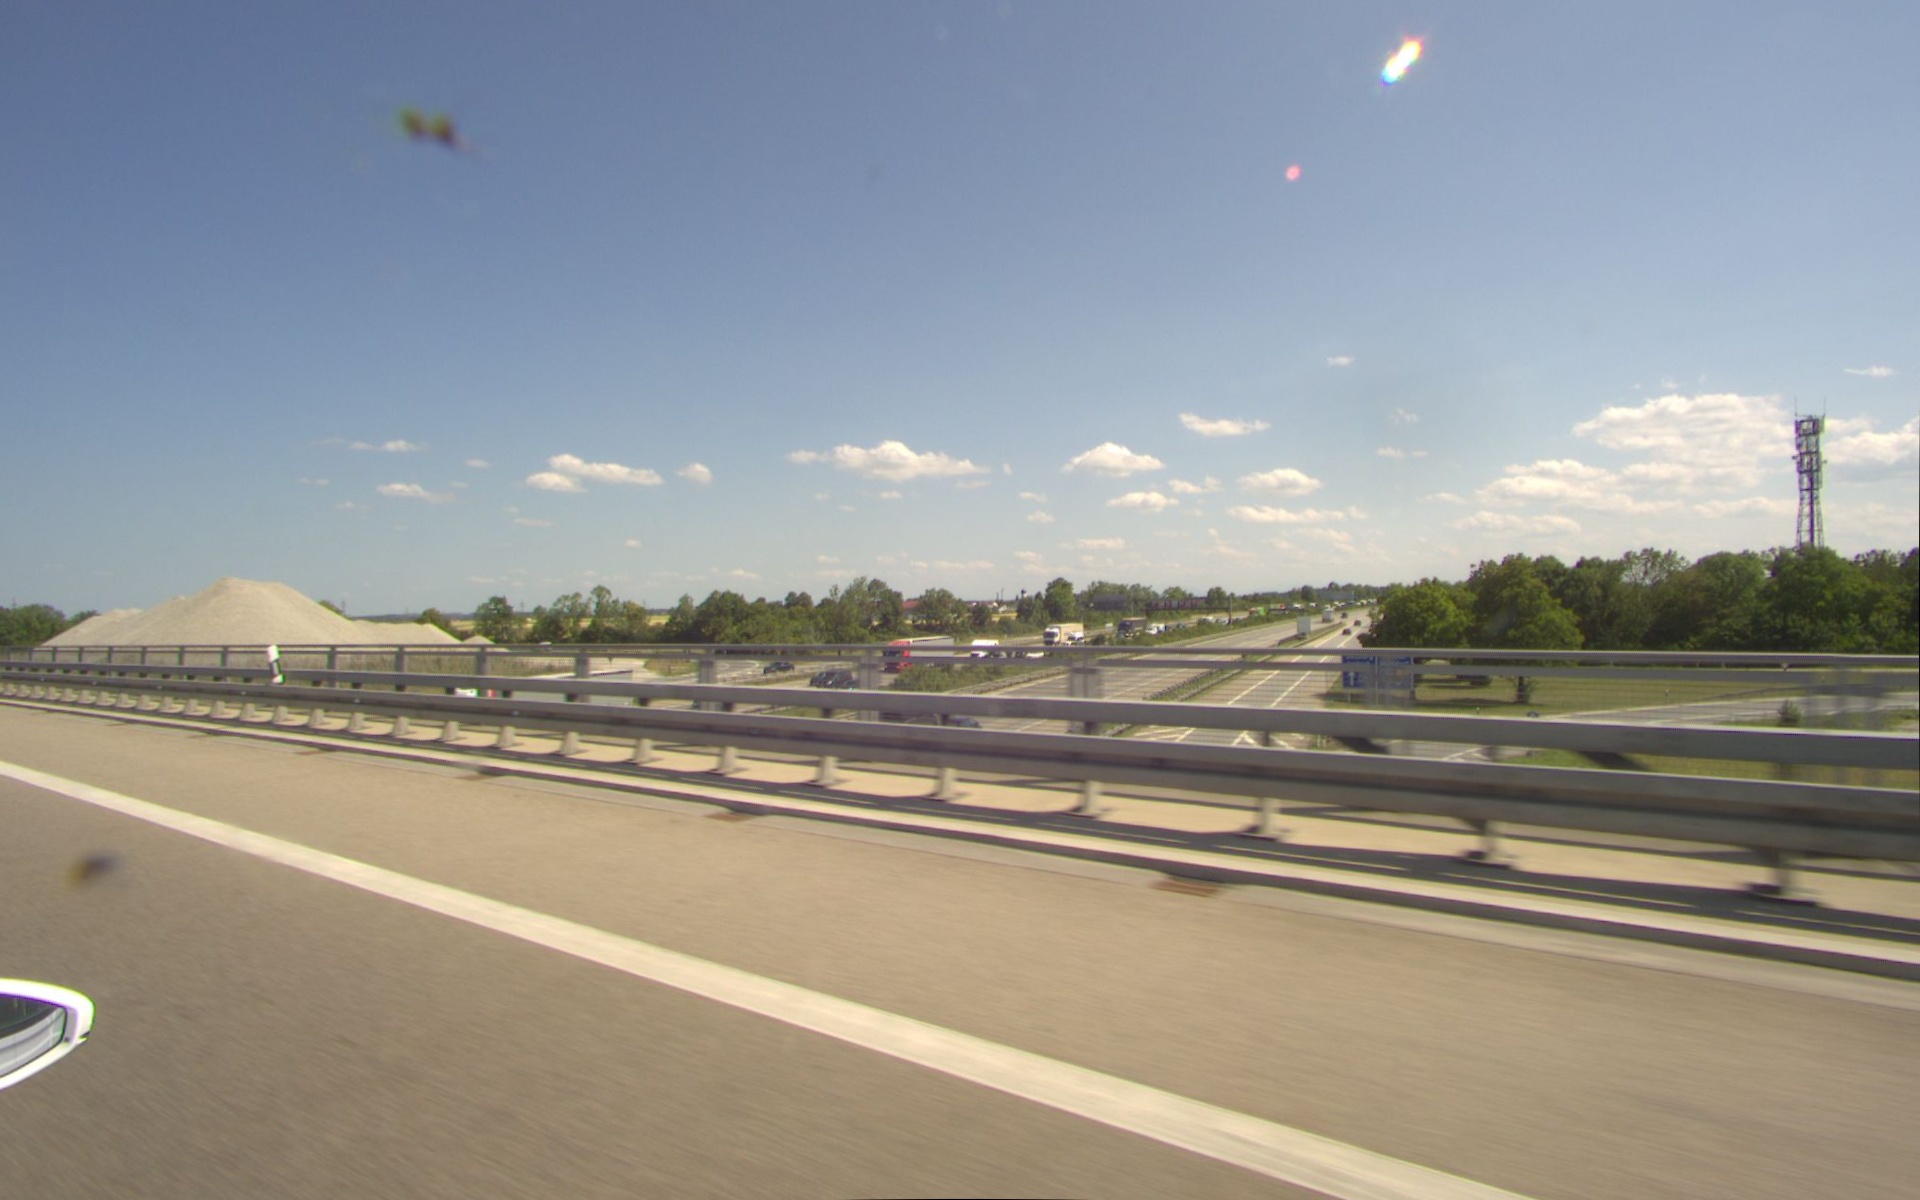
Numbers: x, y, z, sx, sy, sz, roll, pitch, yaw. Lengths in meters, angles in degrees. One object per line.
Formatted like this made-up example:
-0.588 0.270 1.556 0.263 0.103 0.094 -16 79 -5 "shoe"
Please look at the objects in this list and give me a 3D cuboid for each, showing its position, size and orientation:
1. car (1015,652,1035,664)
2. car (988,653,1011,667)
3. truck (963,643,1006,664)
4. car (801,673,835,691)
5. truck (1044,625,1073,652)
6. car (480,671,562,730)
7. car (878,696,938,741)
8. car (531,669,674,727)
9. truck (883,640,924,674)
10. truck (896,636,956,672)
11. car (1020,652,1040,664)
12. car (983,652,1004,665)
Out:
10.471 9.275 161.397 1.830 1.757 4.335 -1 -1 23 "car"
5.560 8.392 140.926 1.830 1.757 4.335 -1 -1 23 "car"
3.899 8.362 157.573 3.100 3.099 10.018 -1 -1 25 "truck"
-16.099 9.276 113.411 1.830 1.757 4.335 -1 -1 23 "car"
18.520 7.171 187.799 3.099 4.836 8.222 -1 -1 23 "truck"
-32.251 7.341 73.684 2.443 4.014 5.144 -1 -2 26 "car"
-3.447 7.910 67.369 2.103 2.479 5.037 -1 -1 22 "car"
-28.600 7.797 81.258 2.443 4.013 12.974 -1 -3 26 "car"
-7.408 7.428 131.547 2.823 4.119 5.936 -1 1 25 "truck"
-4.554 7.331 137.689 2.823 4.119 12.533 -1 0 25 "truck"
10.864 8.892 154.489 1.830 1.757 4.335 -1 -1 23 "car"
5.016 8.685 149.667 1.830 1.757 4.335 -1 -1 23 "car"
